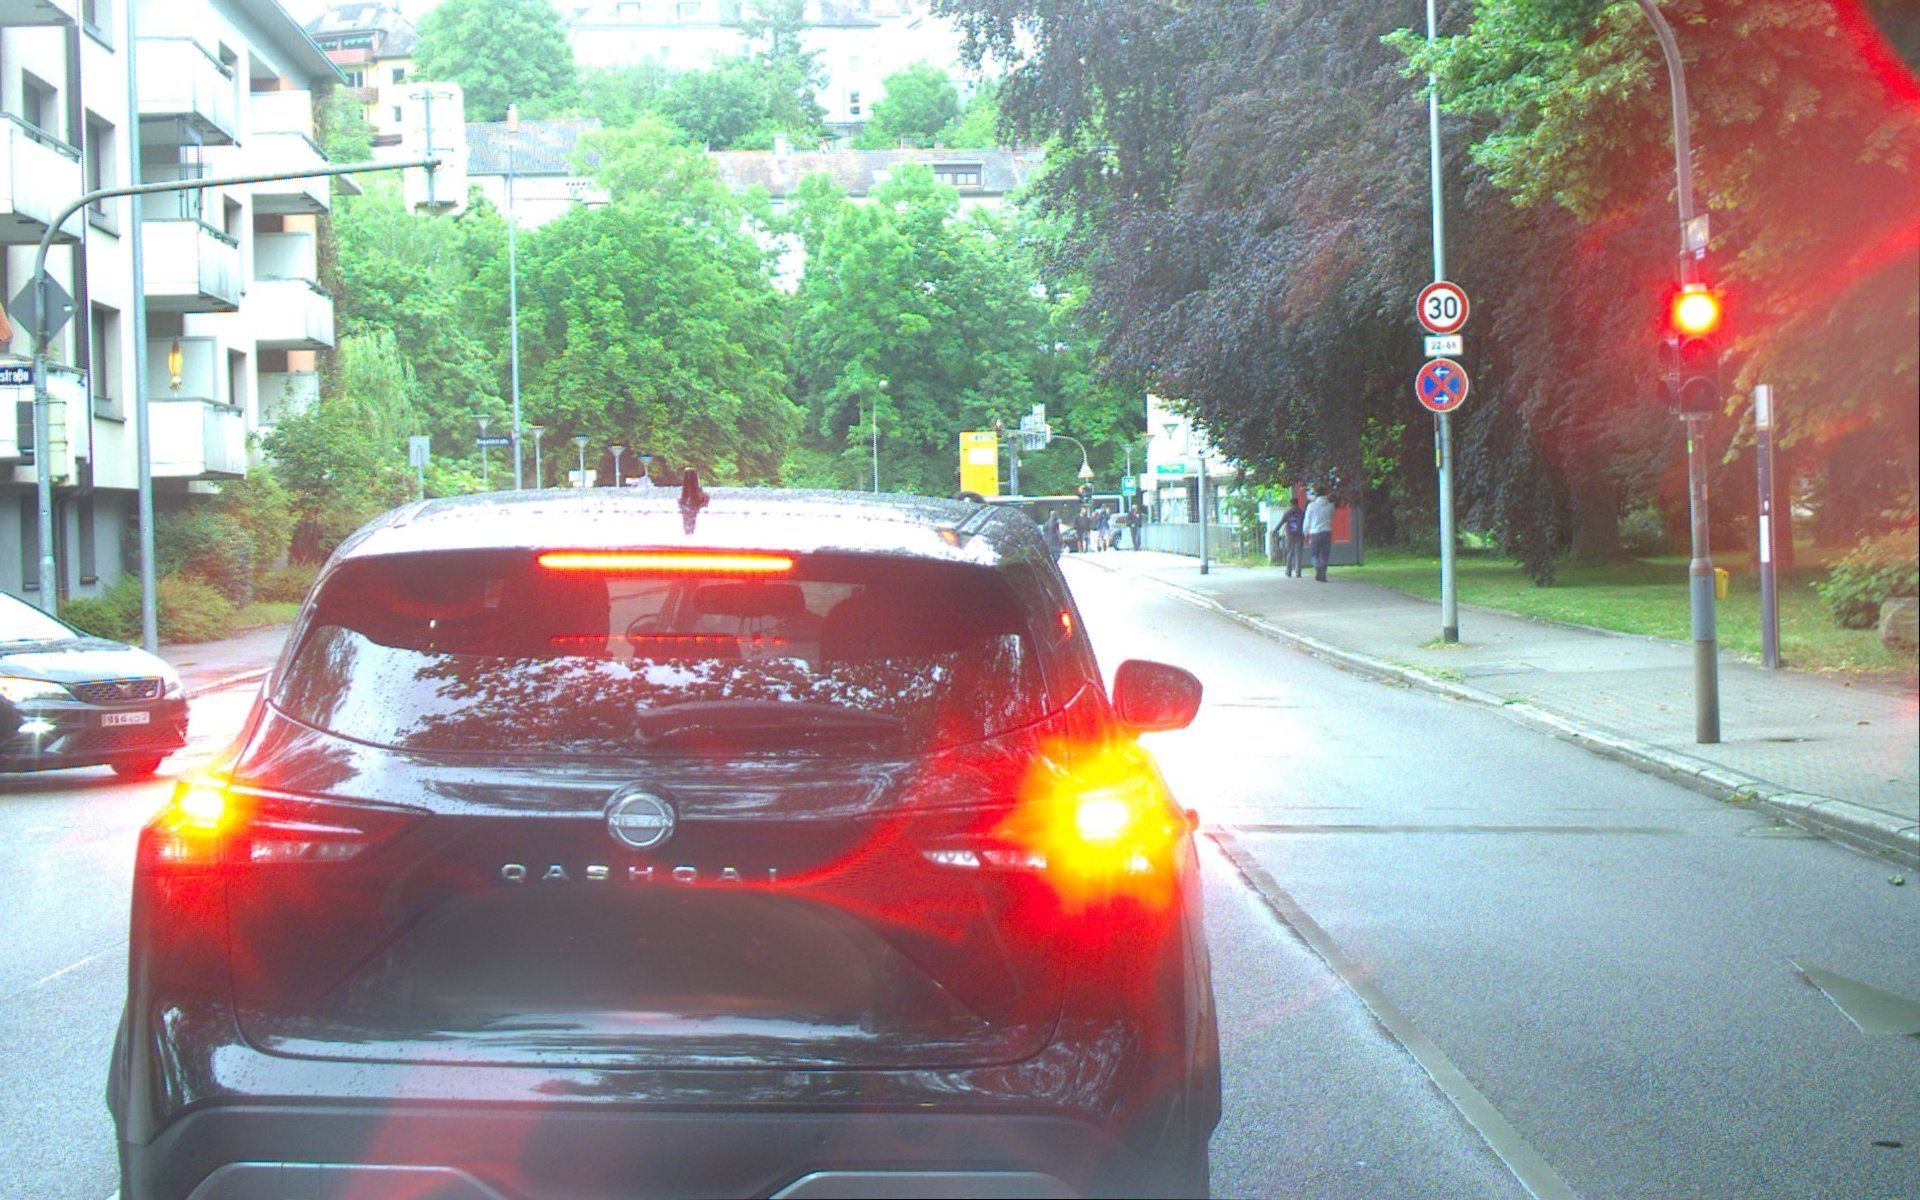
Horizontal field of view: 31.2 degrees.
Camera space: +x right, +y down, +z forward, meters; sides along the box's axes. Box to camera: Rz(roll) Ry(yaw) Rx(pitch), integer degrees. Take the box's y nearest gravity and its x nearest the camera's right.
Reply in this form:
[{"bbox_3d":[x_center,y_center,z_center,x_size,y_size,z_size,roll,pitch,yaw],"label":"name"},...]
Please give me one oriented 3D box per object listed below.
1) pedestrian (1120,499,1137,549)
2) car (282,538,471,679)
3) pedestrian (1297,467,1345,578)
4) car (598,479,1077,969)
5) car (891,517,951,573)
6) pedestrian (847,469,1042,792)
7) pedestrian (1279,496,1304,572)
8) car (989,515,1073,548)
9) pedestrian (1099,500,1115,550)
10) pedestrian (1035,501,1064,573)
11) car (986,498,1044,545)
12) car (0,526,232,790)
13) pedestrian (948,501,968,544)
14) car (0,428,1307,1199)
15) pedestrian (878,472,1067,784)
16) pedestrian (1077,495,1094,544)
[{"bbox_3d":[6.109,-2.775,124.795,0.508,1.795,0.619,-2,1,-2],"label":"pedestrian"},{"bbox_3d":[-6.896,0.057,40.933,1.795,1.528,3.868,-2,1,-4],"label":"car"},{"bbox_3d":[6.667,-1.432,63.478,0.725,2.007,0.851,-2,1,0],"label":"pedestrian"},{"bbox_3d":[-0.468,0.416,14.443,1.698,1.739,3.641,-2,1,-1],"label":"car"},{"bbox_3d":[-1.117,-1.591,98.670,1.634,1.527,3.968,-2,1,-1],"label":"car"},{"bbox_3d":[-0.101,0.167,20.358,1.035,1.869,0.658,-1,1,-11],"label":"pedestrian"},{"bbox_3d":[6.545,-1.303,67.943,0.390,1.497,0.559,-2,1,0],"label":"pedestrian"},{"bbox_3d":[3.643,-3.516,175.982,3.953,1.527,1.640,-2,1,-16],"label":"car"},{"bbox_3d":[5.333,-2.731,124.687,0.508,1.795,0.659,-2,1,-1],"label":"pedestrian"},{"bbox_3d":[2.272,-1.601,87.081,0.508,1.795,0.620,-2,1,-16],"label":"pedestrian"},{"bbox_3d":[2.138,-3.027,132.526,1.994,1.729,3.999,1,1,4],"label":"car"},{"bbox_3d":[-7.169,0.394,23.495,4.131,1.620,1.848,-1,1,33],"label":"car"},{"bbox_3d":[-0.080,-3.048,135.190,0.509,1.667,0.658,-1,1,27],"label":"pedestrian"},{"bbox_3d":[-0.469,0.544,7.039,1.913,1.674,4.000,0,1,0],"label":"car"},{"bbox_3d":[0.072,0.160,21.109,1.035,1.869,0.658,-1,1,-11],"label":"pedestrian"},{"bbox_3d":[4.575,-2.936,125.418,0.508,1.795,0.619,-2,1,-1],"label":"pedestrian"}]
